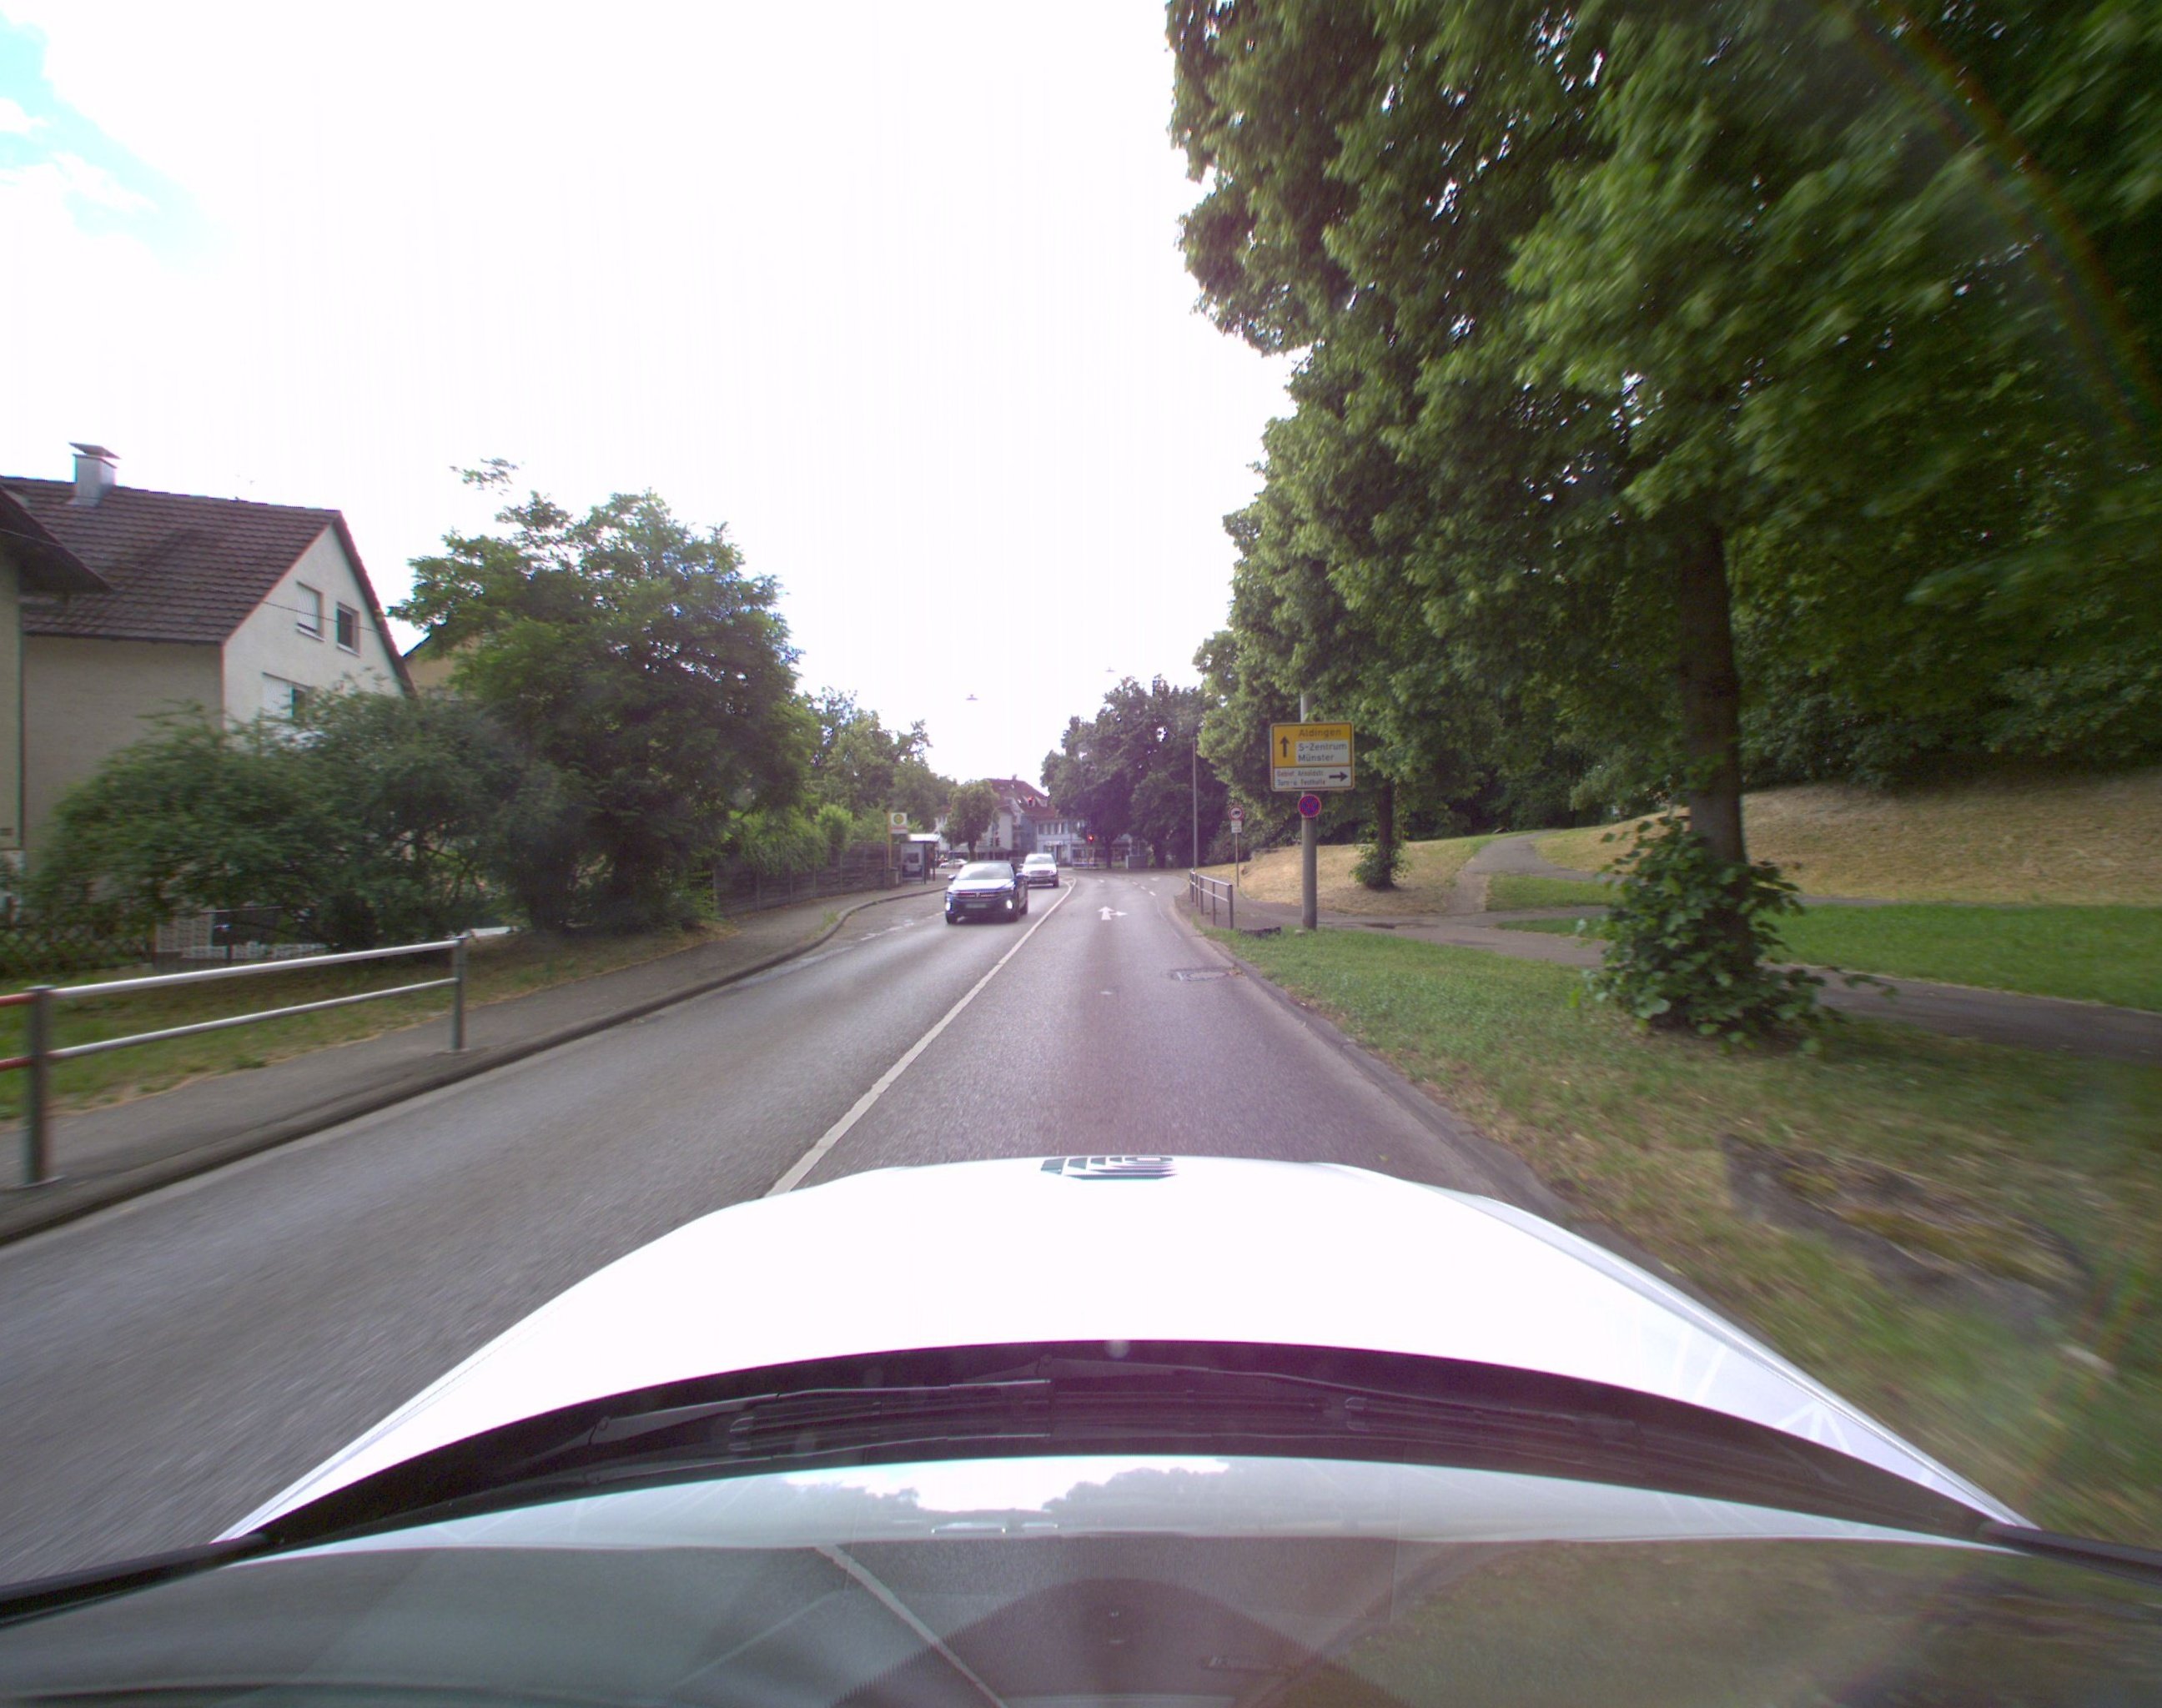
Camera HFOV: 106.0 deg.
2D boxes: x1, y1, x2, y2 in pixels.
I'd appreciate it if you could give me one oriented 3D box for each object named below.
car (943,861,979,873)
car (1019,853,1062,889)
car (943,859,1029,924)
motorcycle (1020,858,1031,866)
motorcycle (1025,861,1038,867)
[{"bbox_3d":[-16.735,1.764,113.913,4.542,1.517,2.009,-2,0,16],"label":"car"},{"bbox_3d":[-2.081,0.862,43.016,1.928,1.724,4.692,-2,0,1],"label":"car"},{"bbox_3d":[-2.400,0.902,21.507,1.710,1.468,4.099,-2,0,0],"label":"car"},{"bbox_3d":[-8.341,1.238,121.737,1.484,1.106,0.563,-2,5,14],"label":"motorcycle"},{"bbox_3d":[-7.284,1.481,120.334,1.821,0.848,0.563,-2,5,18],"label":"motorcycle"}]
